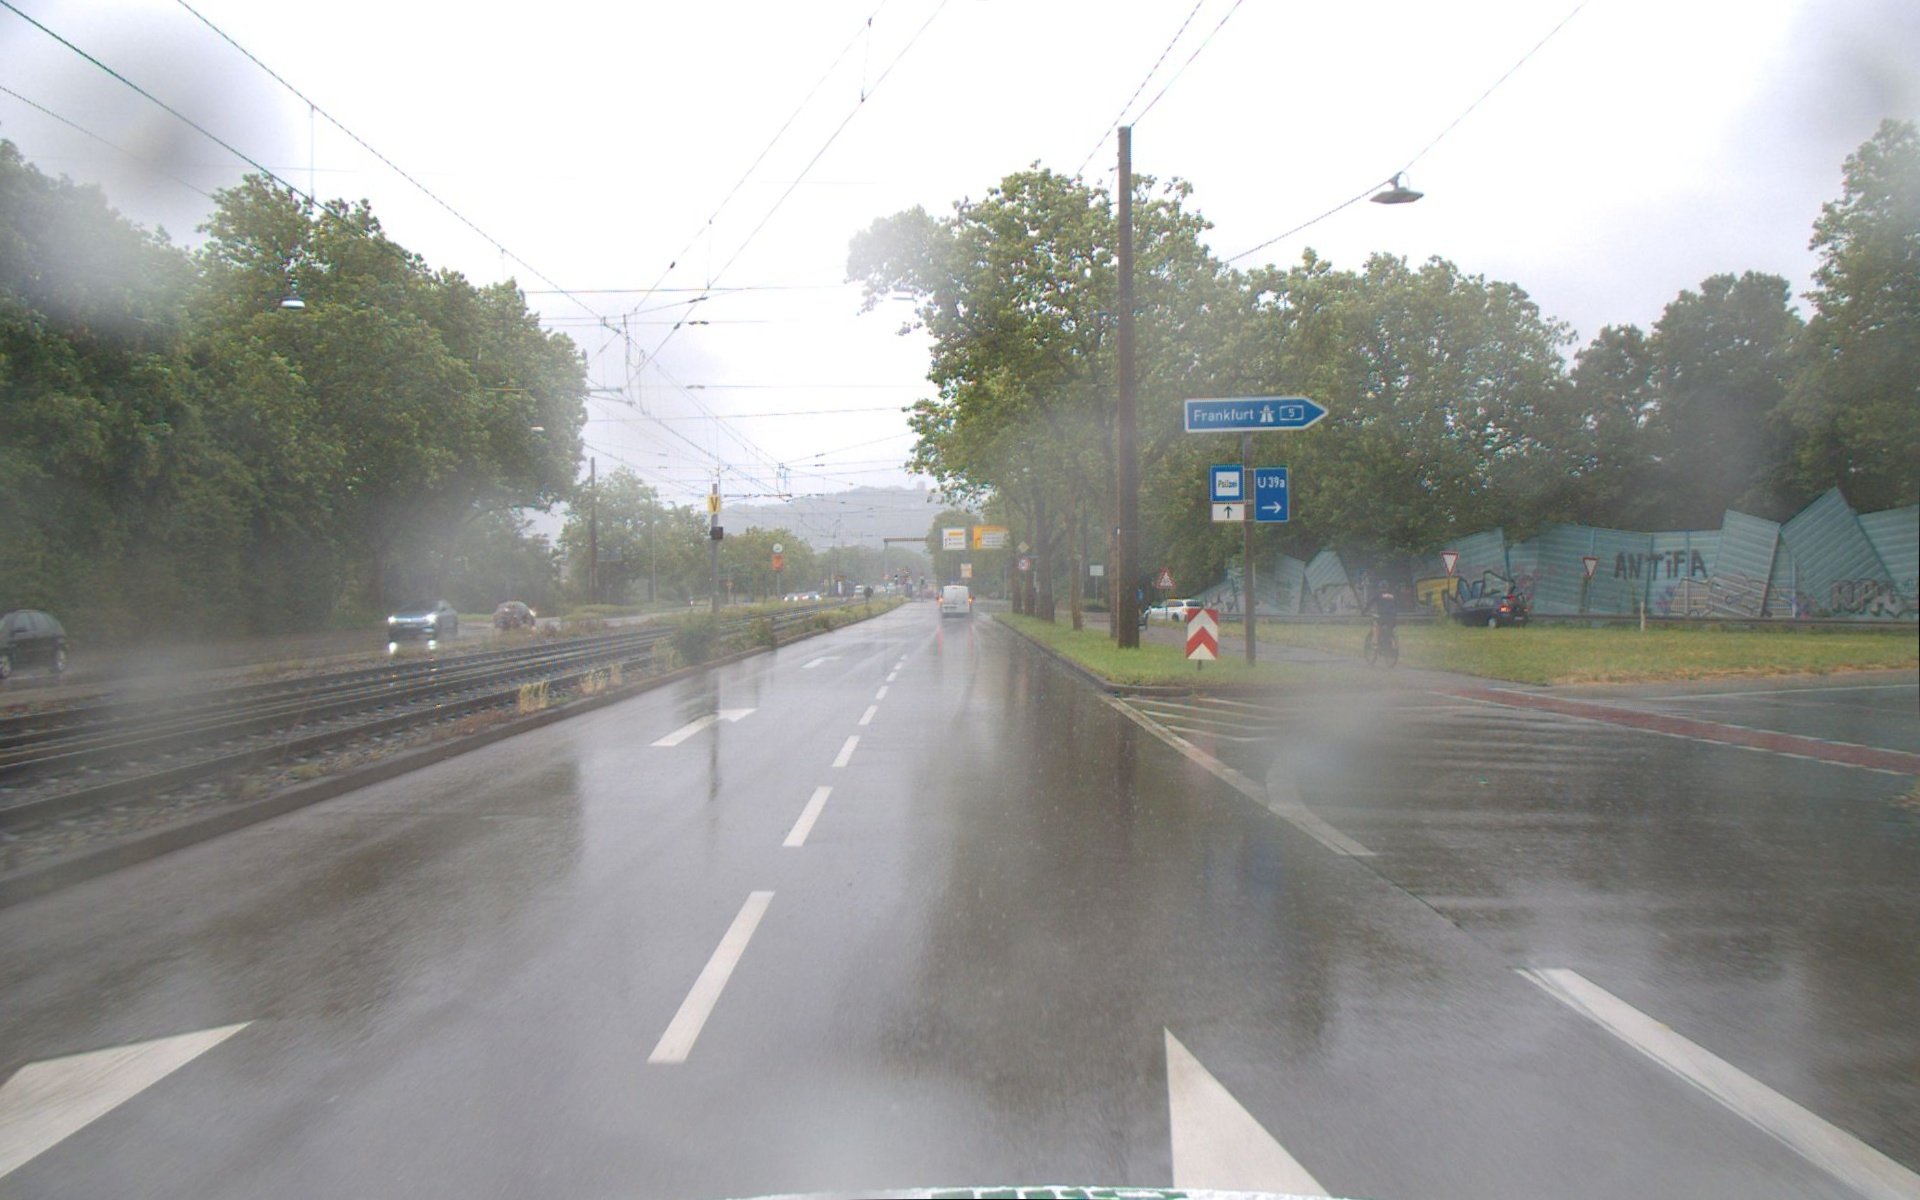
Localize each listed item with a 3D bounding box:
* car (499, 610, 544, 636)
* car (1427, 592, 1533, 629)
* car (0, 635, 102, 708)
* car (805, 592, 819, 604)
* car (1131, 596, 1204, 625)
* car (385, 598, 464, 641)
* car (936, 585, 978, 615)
[{"bbox_3d":[-25.248,1.305,95.315,1.648,1.430,3.938,0,0,-2],"label":"car"},{"bbox_3d":[22.560,0.430,71.876,1.841,1.563,4.478,0,0,-27],"label":"car"},{"bbox_3d":[-20.391,1.499,35.569,1.736,1.353,4.378,0,0,-2],"label":"car"},{"bbox_3d":[-21.144,-0.311,236.719,1.905,1.644,4.984,-1,0,-5],"label":"car"},{"bbox_3d":[11.644,0.588,93.035,1.926,1.563,4.425,0,0,-28],"label":"car"},{"bbox_3d":[-20.818,0.726,64.460,1.656,1.550,4.953,0,0,-2],"label":"car"},{"bbox_3d":[-0.186,-0.004,85.243,2.035,1.445,3.999,-2,0,-1],"label":"car"}]
